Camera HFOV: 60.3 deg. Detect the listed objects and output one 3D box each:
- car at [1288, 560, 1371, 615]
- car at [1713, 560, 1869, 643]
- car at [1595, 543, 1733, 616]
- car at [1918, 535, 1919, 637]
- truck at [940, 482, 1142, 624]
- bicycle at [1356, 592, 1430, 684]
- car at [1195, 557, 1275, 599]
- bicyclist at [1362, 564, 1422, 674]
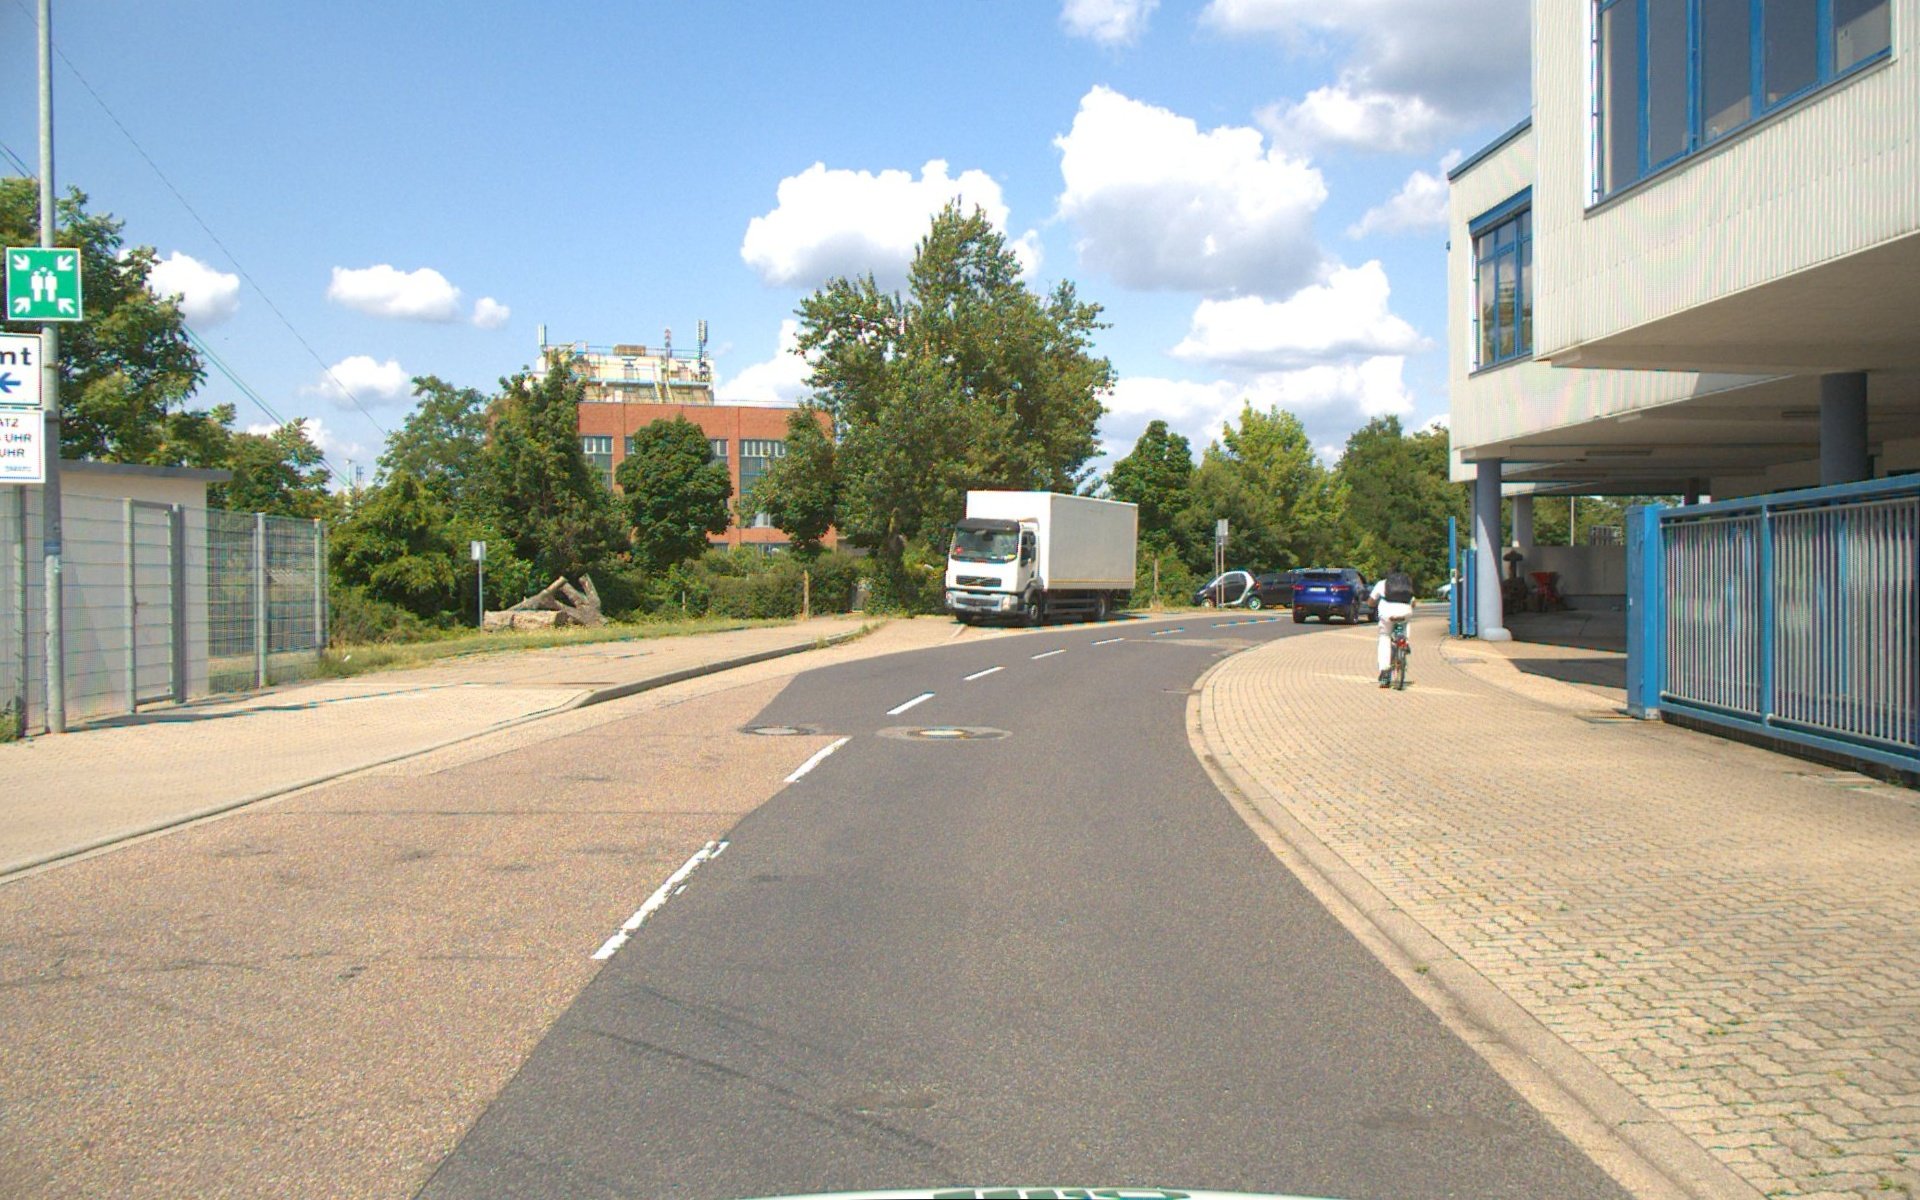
[{"bbox_3d":[11.534,-0.390,51.435,1.870,1.621,4.702,0,1,21],"label":"car"},{"bbox_3d":[19.702,0.004,39.168,3.615,1.687,1.653,-4,4,-31],"label":"car"},{"bbox_3d":[21.048,-0.618,49.414,3.641,2.049,1.998,2,0,27],"label":"car"},{"bbox_3d":[19.236,-0.271,30.060,4.061,1.812,1.737,-1,2,-37],"label":"car"},{"bbox_3d":[2.545,-1.375,47.247,2.275,3.629,9.360,1,2,26],"label":"truck"},{"bbox_3d":[5.768,0.481,22.140,0.652,1.128,2.169,-1,1,7],"label":"bicycle"},{"bbox_3d":[10.835,-0.852,65.255,2.839,1.597,1.890,0,0,0],"label":"car"},{"bbox_3d":[5.731,0.239,21.994,0.649,1.422,0.859,-1,1,7],"label":"bicyclist"}]
